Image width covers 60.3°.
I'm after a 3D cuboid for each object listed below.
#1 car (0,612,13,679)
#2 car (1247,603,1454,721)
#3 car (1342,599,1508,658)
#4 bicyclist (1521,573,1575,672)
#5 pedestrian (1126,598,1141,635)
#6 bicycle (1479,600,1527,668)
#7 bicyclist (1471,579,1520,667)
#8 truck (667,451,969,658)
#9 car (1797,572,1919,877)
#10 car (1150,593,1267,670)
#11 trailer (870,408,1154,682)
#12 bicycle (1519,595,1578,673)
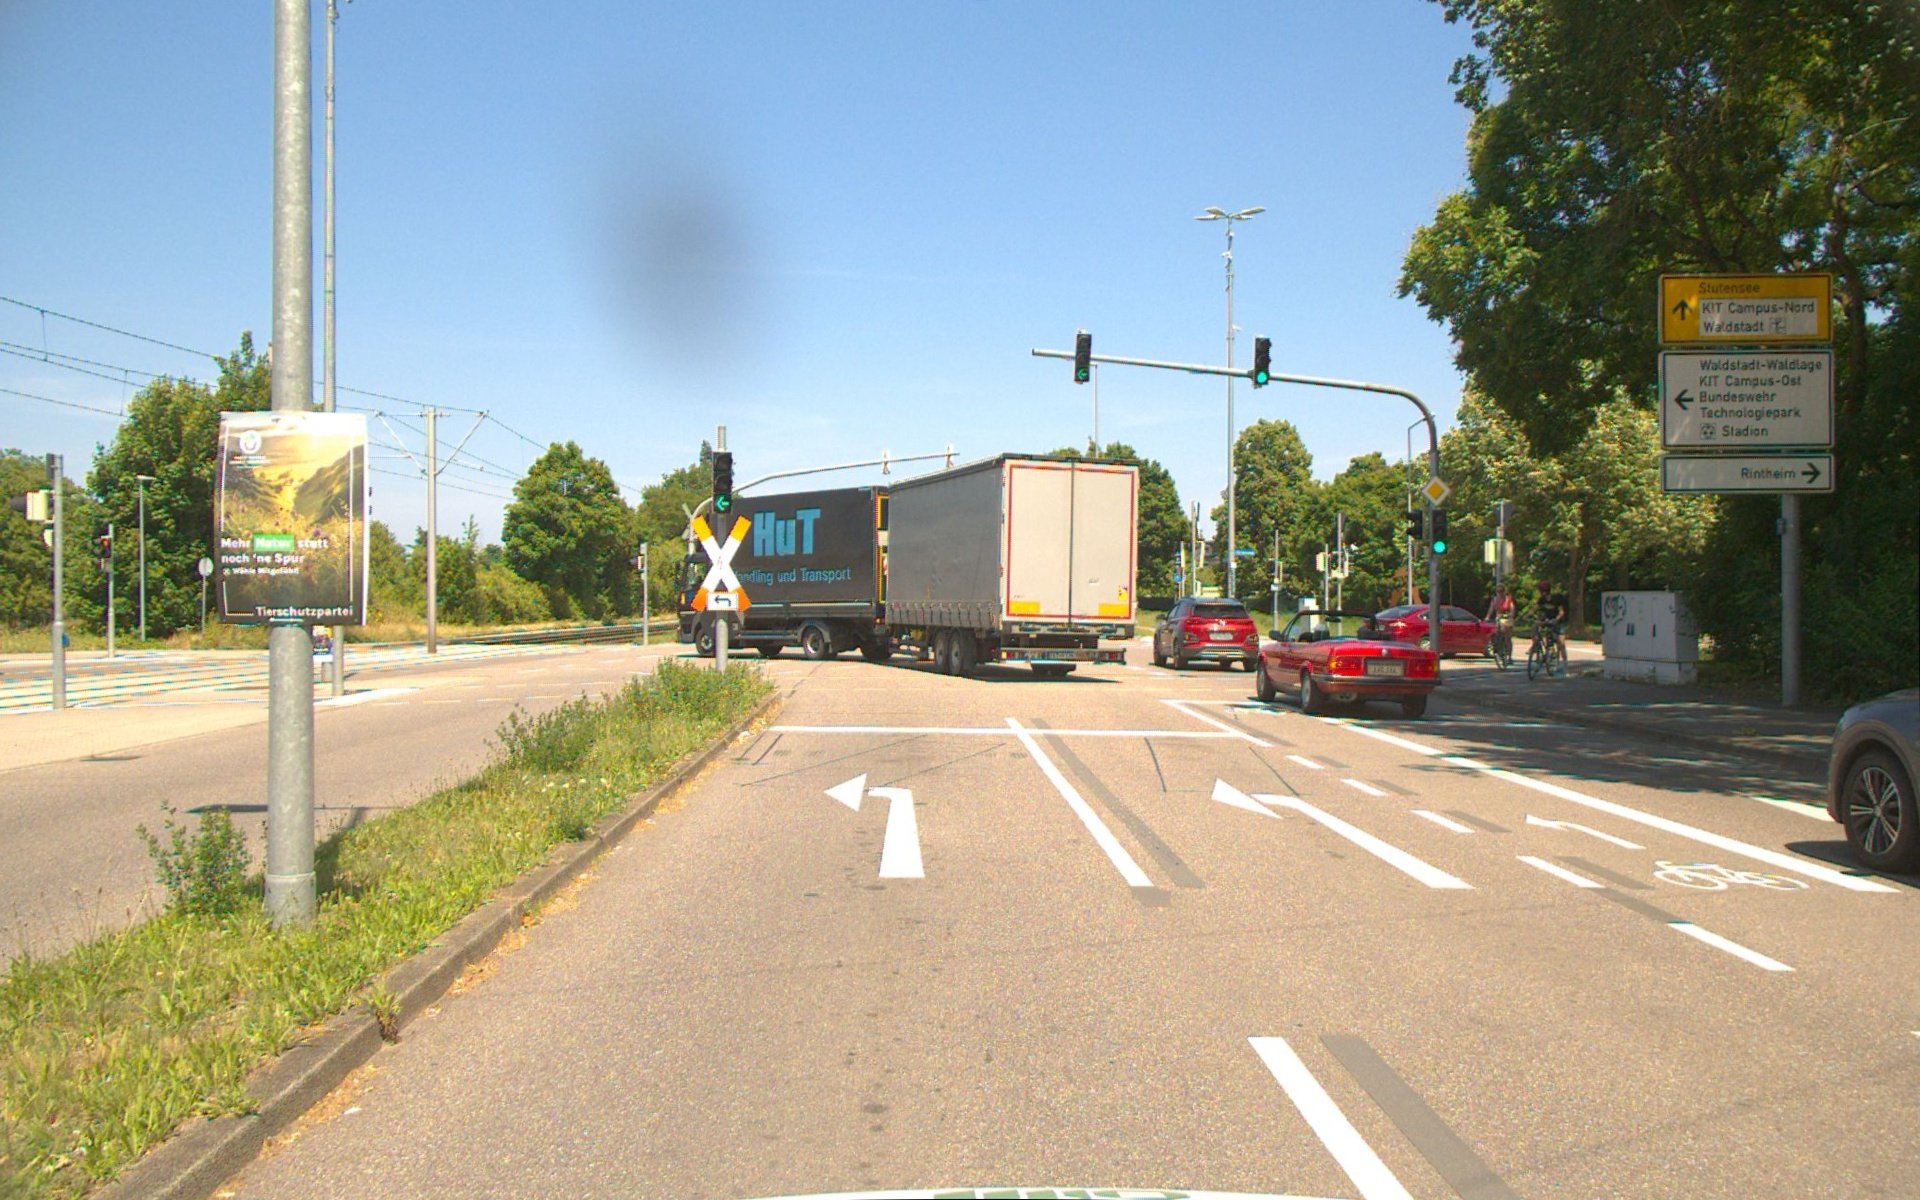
[{"bbox_3d":[-22.714,0.987,34.948,4.347,1.395,1.889,0,1,-18],"label":"car"},{"bbox_3d":[5.269,0.778,22.855,1.622,1.421,4.264,1,0,-3],"label":"car"},{"bbox_3d":[12.952,0.753,45.993,4.442,1.529,1.979,0,1,-31],"label":"car"},{"bbox_3d":[10.514,0.403,29.571,0.711,1.733,0.677,-3,-1,31],"label":"bicyclist"},{"bbox_3d":[9.845,0.945,94.042,0.727,2.049,0.613,1,0,-1],"label":"pedestrian"},{"bbox_3d":[11.075,0.685,33.786,0.631,1.327,1.627,-2,0,9],"label":"bicycle"},{"bbox_3d":[10.999,0.475,34.006,0.785,1.757,0.679,-2,-1,9],"label":"bicyclist"},{"bbox_3d":[-3.556,-0.906,39.341,2.813,4.421,8.154,1,-1,-42],"label":"truck"},{"bbox_3d":[6.210,0.712,8.227,1.666,1.683,4.396,1,0,-3],"label":"car"},{"bbox_3d":[5.468,0.665,36.840,1.821,1.576,3.884,1,0,-3],"label":"car"},{"bbox_3d":[0.675,-0.928,31.752,2.782,4.499,8.708,1,0,-17],"label":"trailer"},{"bbox_3d":[10.548,0.602,29.642,0.711,1.318,1.301,-3,-1,31],"label":"bicycle"}]
